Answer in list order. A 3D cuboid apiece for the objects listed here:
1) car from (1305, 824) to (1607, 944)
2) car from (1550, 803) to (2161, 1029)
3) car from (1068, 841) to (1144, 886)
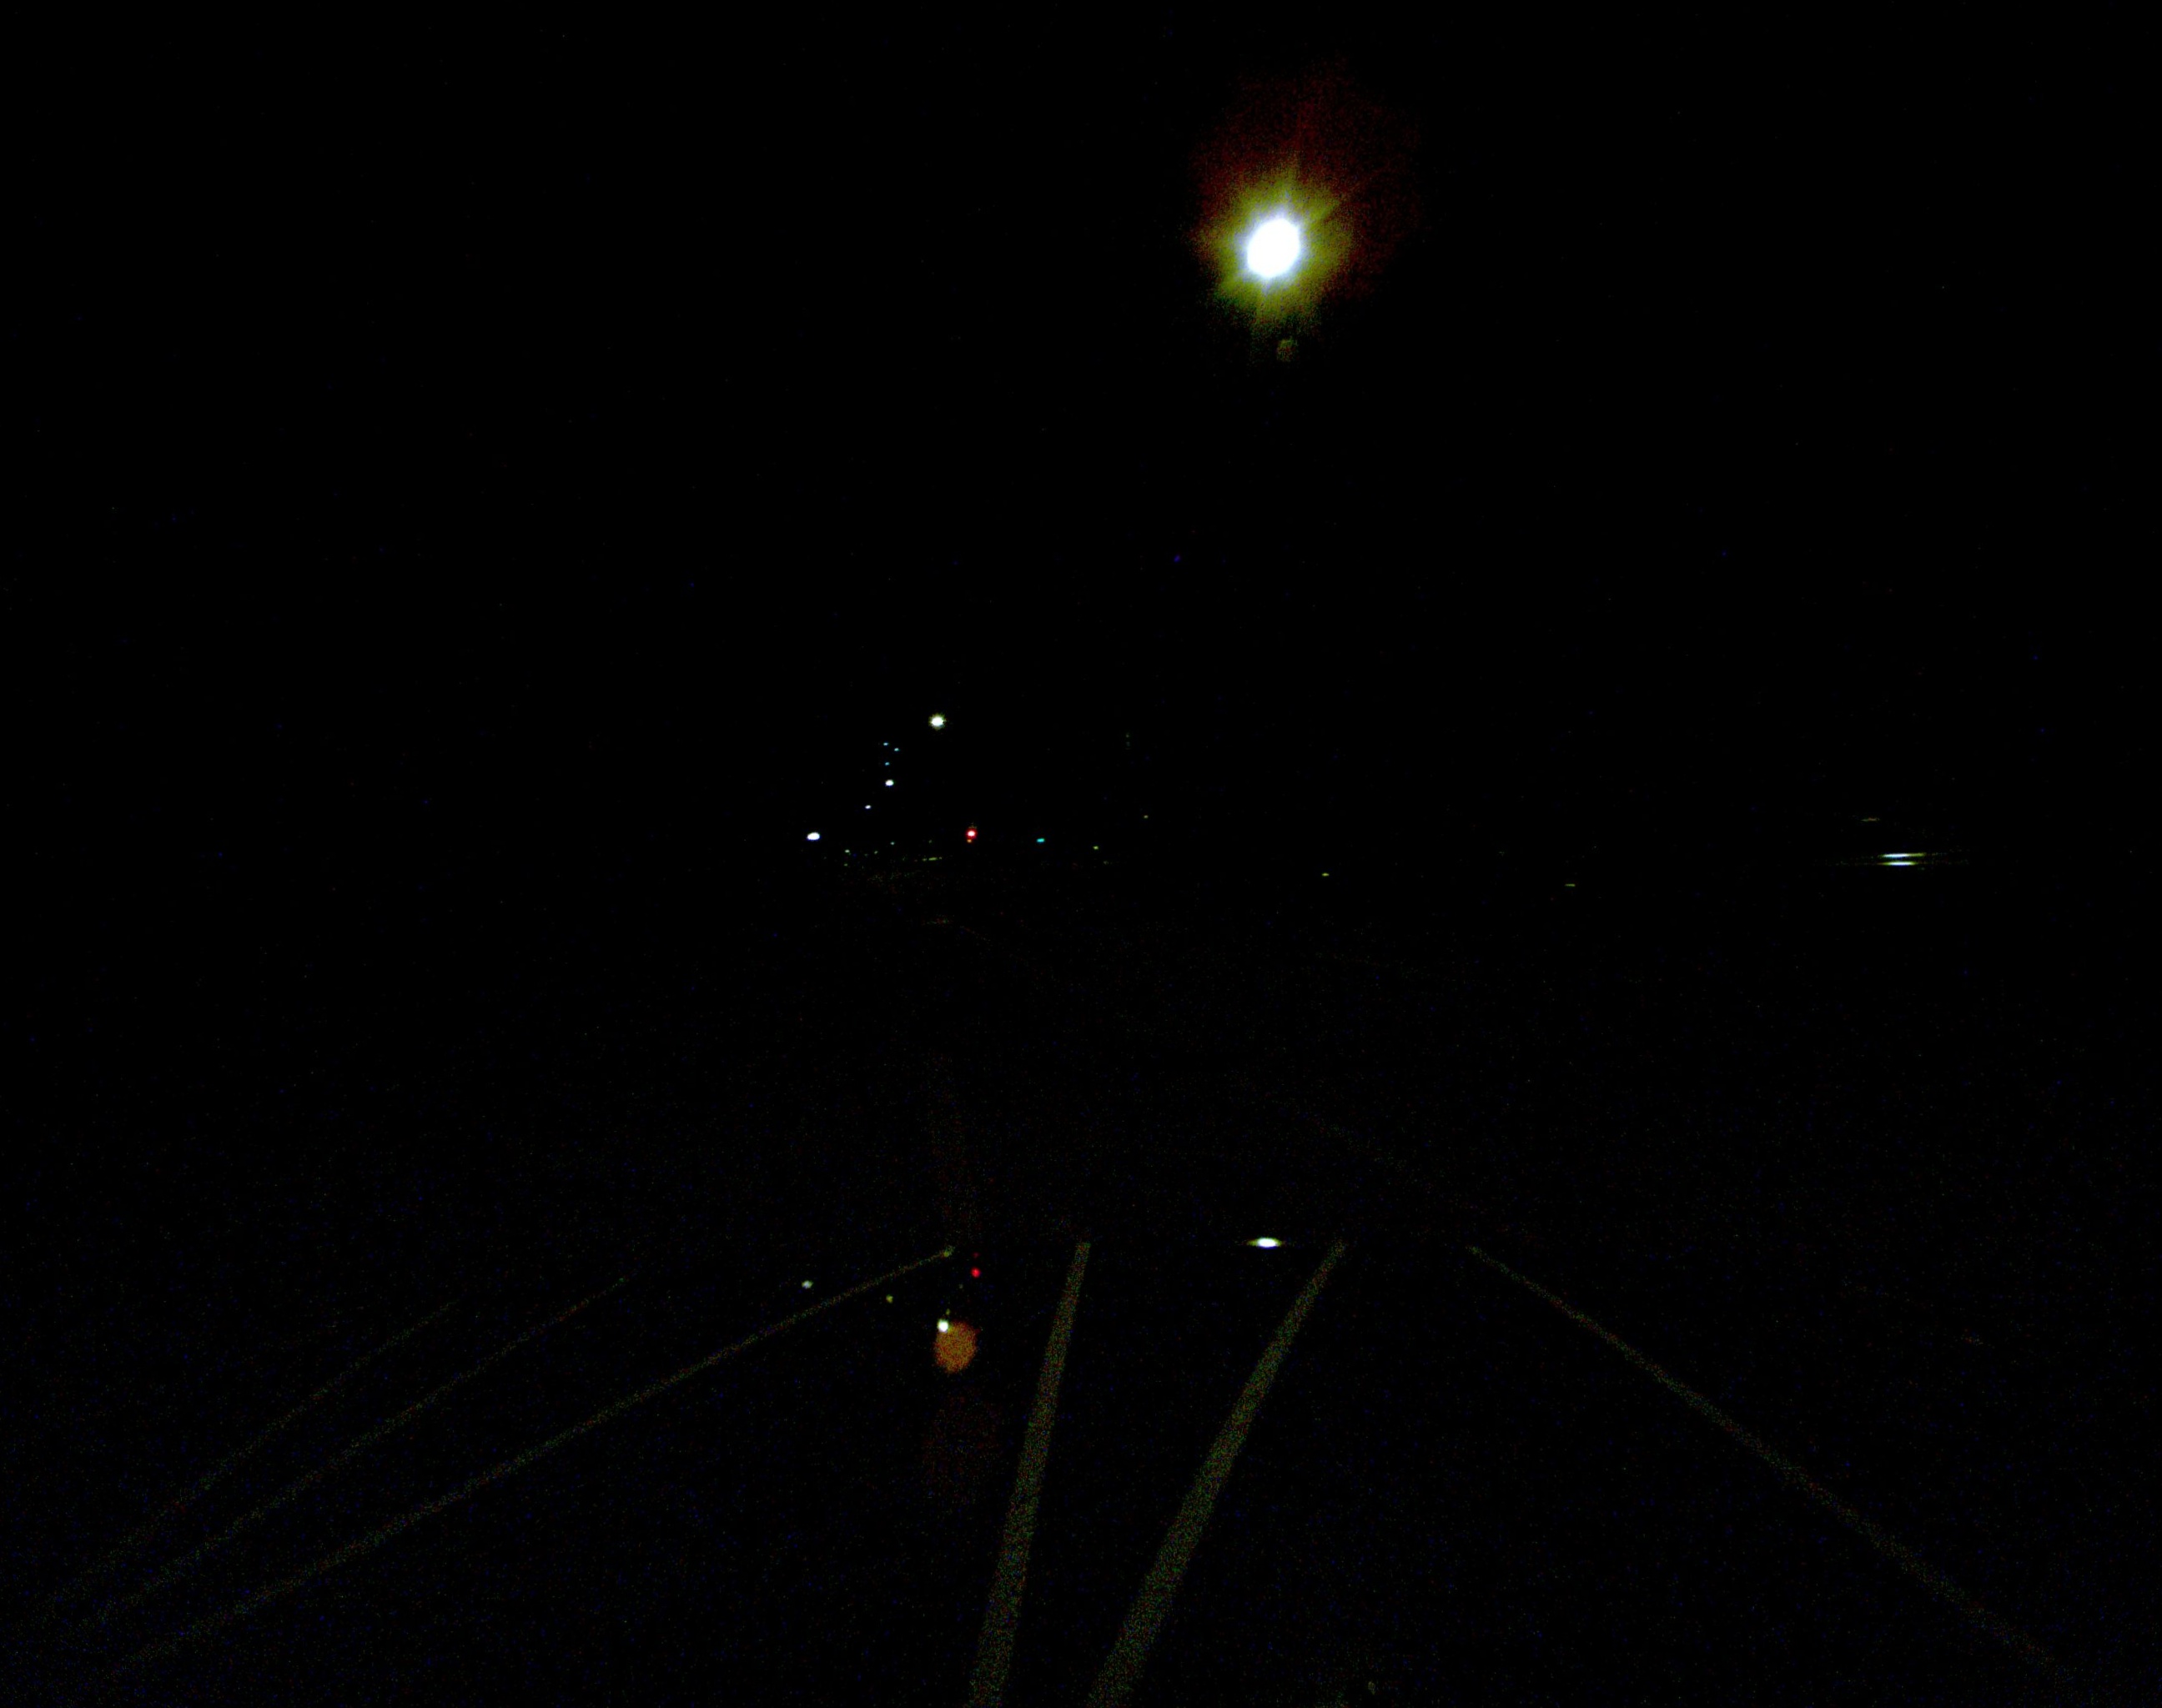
[{"bbox_3d":[5.653,0.386,12.160,1.644,1.425,4.342,-6,2,-19],"label":"car"},{"bbox_3d":[7.156,0.393,7.407,1.557,1.425,4.341,-6,2,-18],"label":"car"},{"bbox_3d":[0.843,0.329,27.880,1.635,1.456,3.509,-3,1,-17],"label":"car"}]
